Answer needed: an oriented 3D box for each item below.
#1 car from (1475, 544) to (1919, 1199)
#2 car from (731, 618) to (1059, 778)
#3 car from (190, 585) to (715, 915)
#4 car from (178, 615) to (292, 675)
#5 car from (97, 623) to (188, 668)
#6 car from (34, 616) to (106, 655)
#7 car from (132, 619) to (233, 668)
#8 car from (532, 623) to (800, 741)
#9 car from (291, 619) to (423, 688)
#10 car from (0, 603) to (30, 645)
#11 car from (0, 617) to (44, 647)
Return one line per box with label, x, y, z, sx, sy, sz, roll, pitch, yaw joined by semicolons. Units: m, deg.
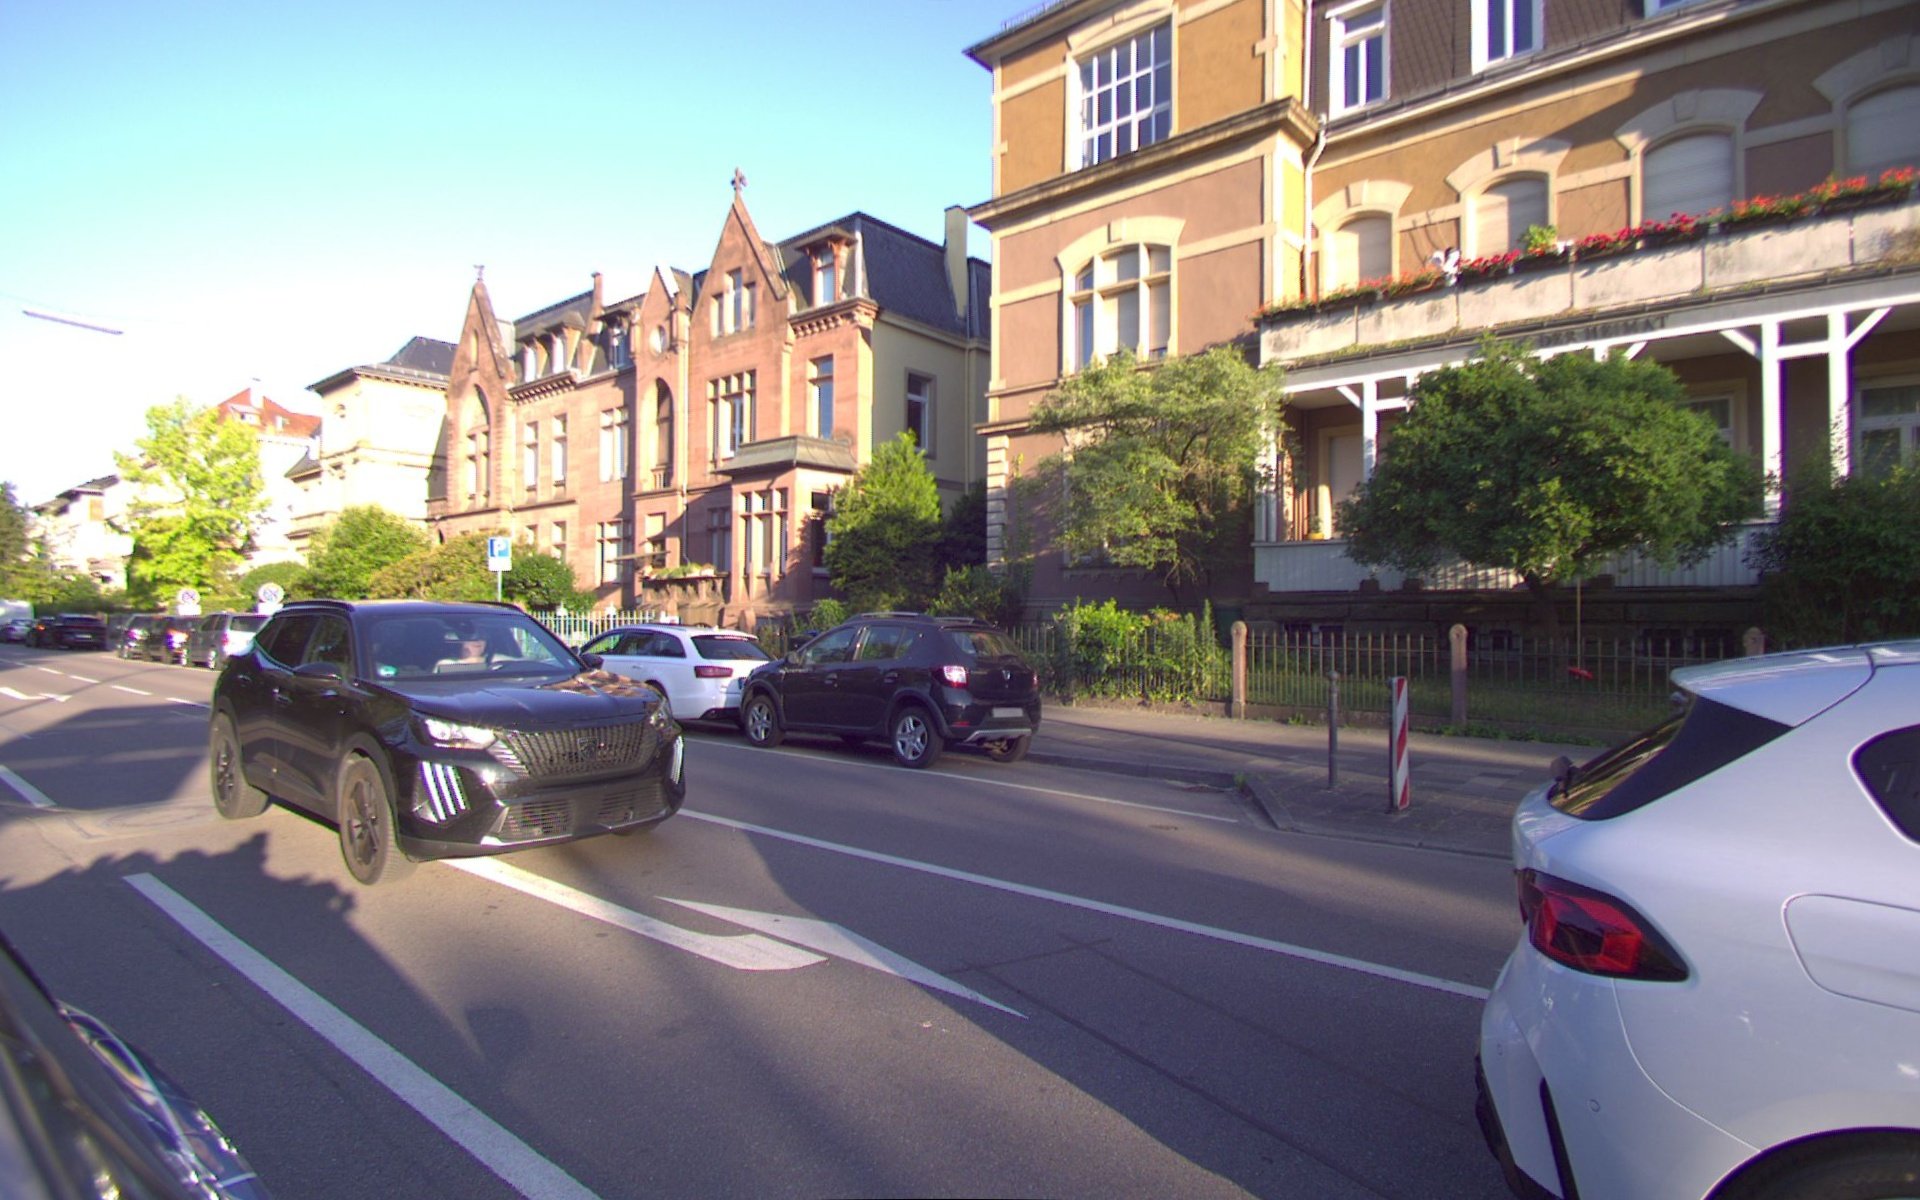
car;3.092;0.653;1.159;4.185;1.477;1.734;-1;-2;40
car;-0.850;1.031;11.661;3.722;1.546;1.610;-1;-5;43
car;-3.523;0.752;6.701;3.997;1.547;1.661;-1;-2;40
car;-20.774;1.261;28.943;3.749;1.601;1.694;-1;-3;39
car;-28.323;1.553;35.036;3.719;1.461;1.694;-1;-3;39
car;-39.039;1.546;44.387;3.721;1.617;1.856;-1;-3;41
car;-24.721;1.352;32.148;3.719;1.461;1.694;-1;-3;39
car;-4.349;1.095;14.569;4.432;1.454;1.587;-1;-5;43
car;-13.752;1.177;23.006;3.566;1.456;1.610;-1;-3;43
car;-57.406;1.422;60.236;5.874;2.387;2.203;-1;-3;40
car;-52.126;1.754;55.973;3.852;1.617;1.693;-1;-3;41
